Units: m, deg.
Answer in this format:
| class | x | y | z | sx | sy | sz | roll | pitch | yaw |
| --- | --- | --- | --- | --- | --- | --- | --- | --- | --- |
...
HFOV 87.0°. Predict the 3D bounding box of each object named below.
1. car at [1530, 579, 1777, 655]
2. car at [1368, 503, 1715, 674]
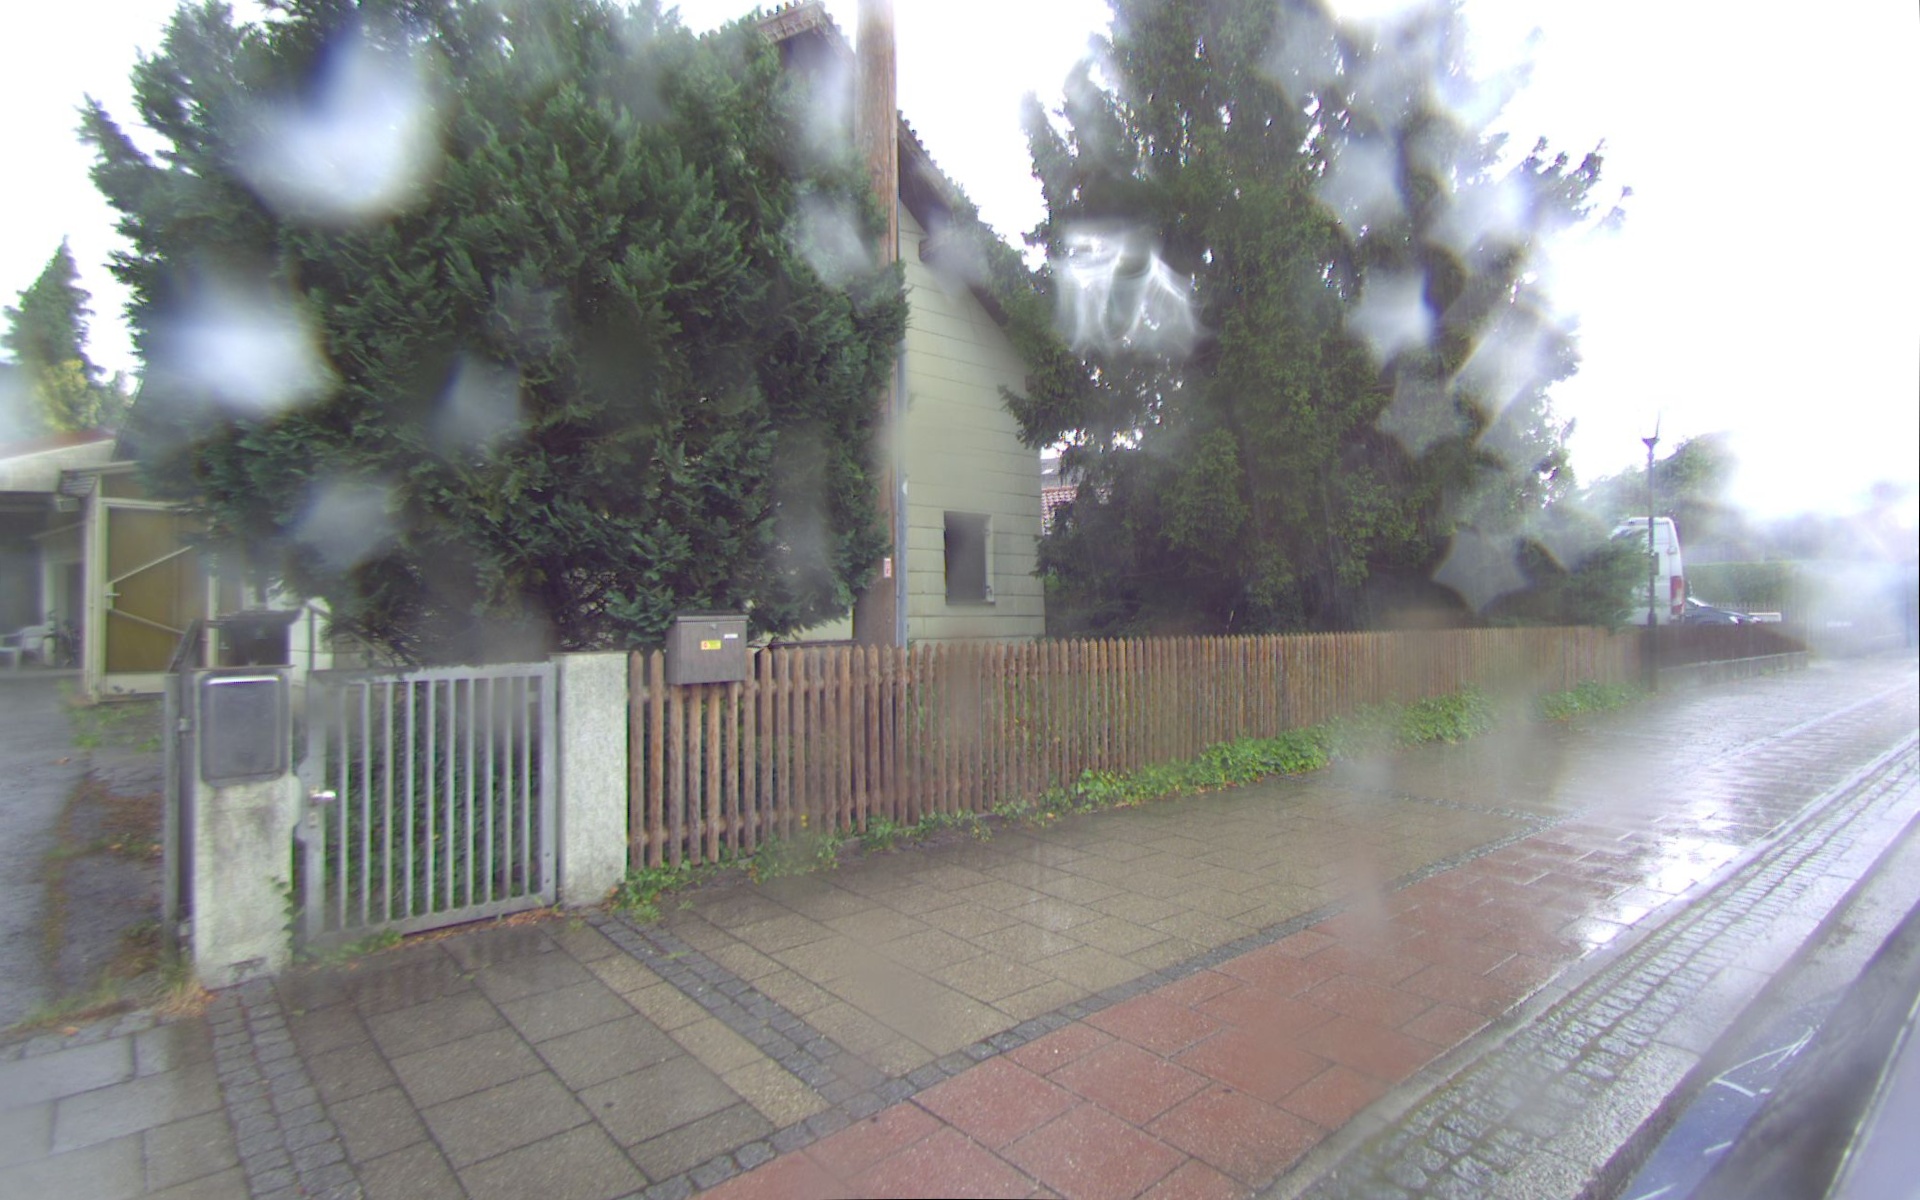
| class | x | y | z | sx | sy | sz | roll | pitch | yaw |
| --- | --- | --- | --- | --- | --- | --- | --- | --- | --- |
| car | 15.725 | 0.309 | 23.098 | 4.428 | 1.438 | 1.803 | 3 | 3 | 42 |
| car | 10.684 | -0.294 | 18.895 | 5.298 | 2.761 | 1.971 | 3 | 2 | 41 |
